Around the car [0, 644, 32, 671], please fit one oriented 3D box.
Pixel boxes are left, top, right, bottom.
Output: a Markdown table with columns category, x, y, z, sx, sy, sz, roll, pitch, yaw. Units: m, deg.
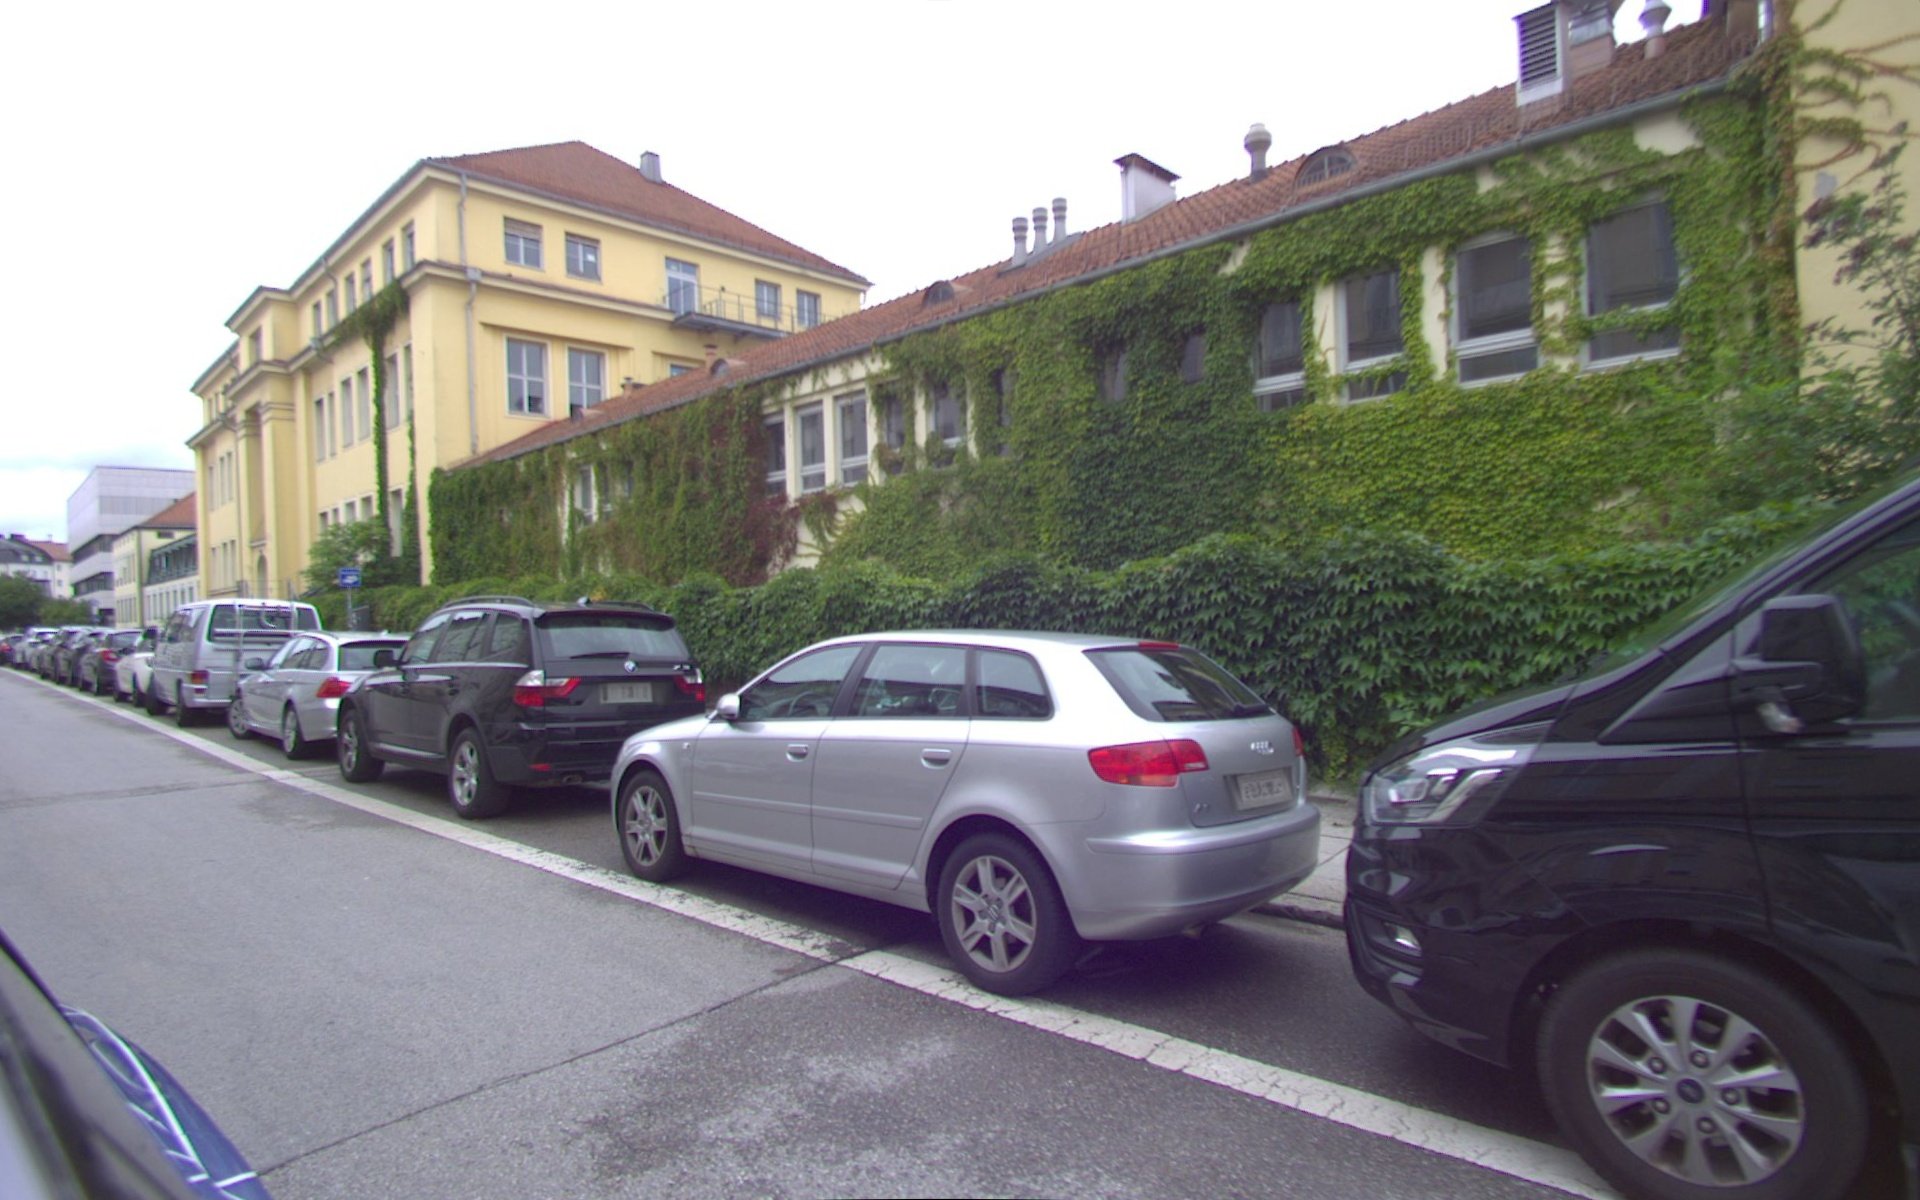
| category | x | y | z | sx | sy | sz | roll | pitch | yaw |
| --- | --- | --- | --- | --- | --- | --- | --- | --- | --- |
| car | -52.639 | 3.166 | 55.875 | 3.995 | 1.409 | 1.657 | -3 | -4 | 42 |

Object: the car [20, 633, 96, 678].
| category | x | y | z | sx | sy | sz | roll | pitch | yaw |
| --- | --- | --- | --- | --- | --- | --- | --- | --- | --- |
| car | -32.359 | 1.942 | 36.274 | 3.895 | 1.436 | 1.661 | -2 | 0 | 43 |

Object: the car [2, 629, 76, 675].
| category | x | y | z | sx | sy | sz | roll | pitch | yaw |
| --- | --- | --- | --- | --- | --- | --- | --- | --- | --- |
| car | -36.421 | 2.034 | 39.993 | 4.355 | 1.646 | 1.662 | -2 | 0 | 41 |

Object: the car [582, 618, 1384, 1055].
| category | x | y | z | sx | sy | sz | roll | pitch | yaw |
| --- | --- | --- | --- | --- | --- | --- | --- | --- | --- |
| car | -0.179 | 0.843 | 5.218 | 4.071 | 1.388 | 1.602 | -2 | -4 | 42 |

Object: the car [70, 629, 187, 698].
| category | x | y | z | sx | sy | sz | roll | pitch | yaw |
| --- | --- | --- | --- | --- | --- | --- | --- | --- | --- |
| car | -19.329 | 1.427 | 23.475 | 3.904 | 1.467 | 1.561 | -2 | -4 | 43 |

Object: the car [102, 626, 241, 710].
| category | x | y | z | sx | sy | sz | roll | pitch | yaw |
| --- | --- | --- | --- | --- | --- | --- | --- | --- | --- |
| car | -15.648 | 1.310 | 20.030 | 3.730 | 1.504 | 1.561 | -2 | -4 | 43 |

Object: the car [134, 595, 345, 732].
| category | x | y | z | sx | sy | sz | roll | pitch | yaw |
| --- | --- | --- | --- | --- | --- | --- | --- | --- | --- |
| car | -11.763 | 0.968 | 16.382 | 4.760 | 1.890 | 1.971 | -2 | -4 | 45 |

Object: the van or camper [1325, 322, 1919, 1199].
| category | x | y | z | sx | sy | sz | roll | pitch | yaw |
| --- | --- | --- | --- | --- | --- | --- | --- | --- | --- |
| van or camper | 3.505 | 0.452 | 2.177 | 4.746 | 2.081 | 1.942 | -2 | -3 | 38 |

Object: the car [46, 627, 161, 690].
| category | x | y | z | sx | sy | sz | roll | pitch | yaw |
| --- | --- | --- | --- | --- | --- | --- | --- | --- | --- |
| car | -22.837 | 1.528 | 26.941 | 4.148 | 1.550 | 1.762 | -2 | -3 | 42 |

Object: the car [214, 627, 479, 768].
| category | x | y | z | sx | sy | sz | roll | pitch | yaw |
| --- | --- | --- | --- | --- | --- | --- | --- | --- | --- |
| car | -7.703 | 1.091 | 12.520 | 4.426 | 1.433 | 1.682 | -2 | -4 | 44 |

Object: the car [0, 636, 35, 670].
| category | x | y | z | sx | sy | sz | roll | pitch | yaw |
| --- | --- | --- | --- | --- | --- | --- | --- | --- | --- |
| car | -43.947 | 2.415 | 46.623 | 3.986 | 1.507 | 1.661 | -2 | -4 | 44 |

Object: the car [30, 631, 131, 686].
| category | x | y | z | sx | sy | sz | roll | pitch | yaw |
| --- | --- | --- | --- | --- | --- | --- | --- | --- | --- |
| car | -26.673 | 1.759 | 30.636 | 4.194 | 1.550 | 1.762 | -3 | -5 | 42 |

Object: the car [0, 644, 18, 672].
| category | x | y | z | sx | sy | sz | roll | pitch | yaw |
| --- | --- | --- | --- | --- | --- | --- | --- | --- | --- |
| car | -56.908 | 3.424 | 59.621 | 3.995 | 1.578 | 1.657 | -3 | -4 | 42 |

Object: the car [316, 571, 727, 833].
| category | x | y | z | sx | sy | sz | roll | pitch | yaw |
| --- | --- | --- | --- | --- | --- | --- | --- | --- | --- |
| car | -4.013 | 0.780 | 8.853 | 4.424 | 1.743 | 1.602 | -2 | -5 | 43 |
